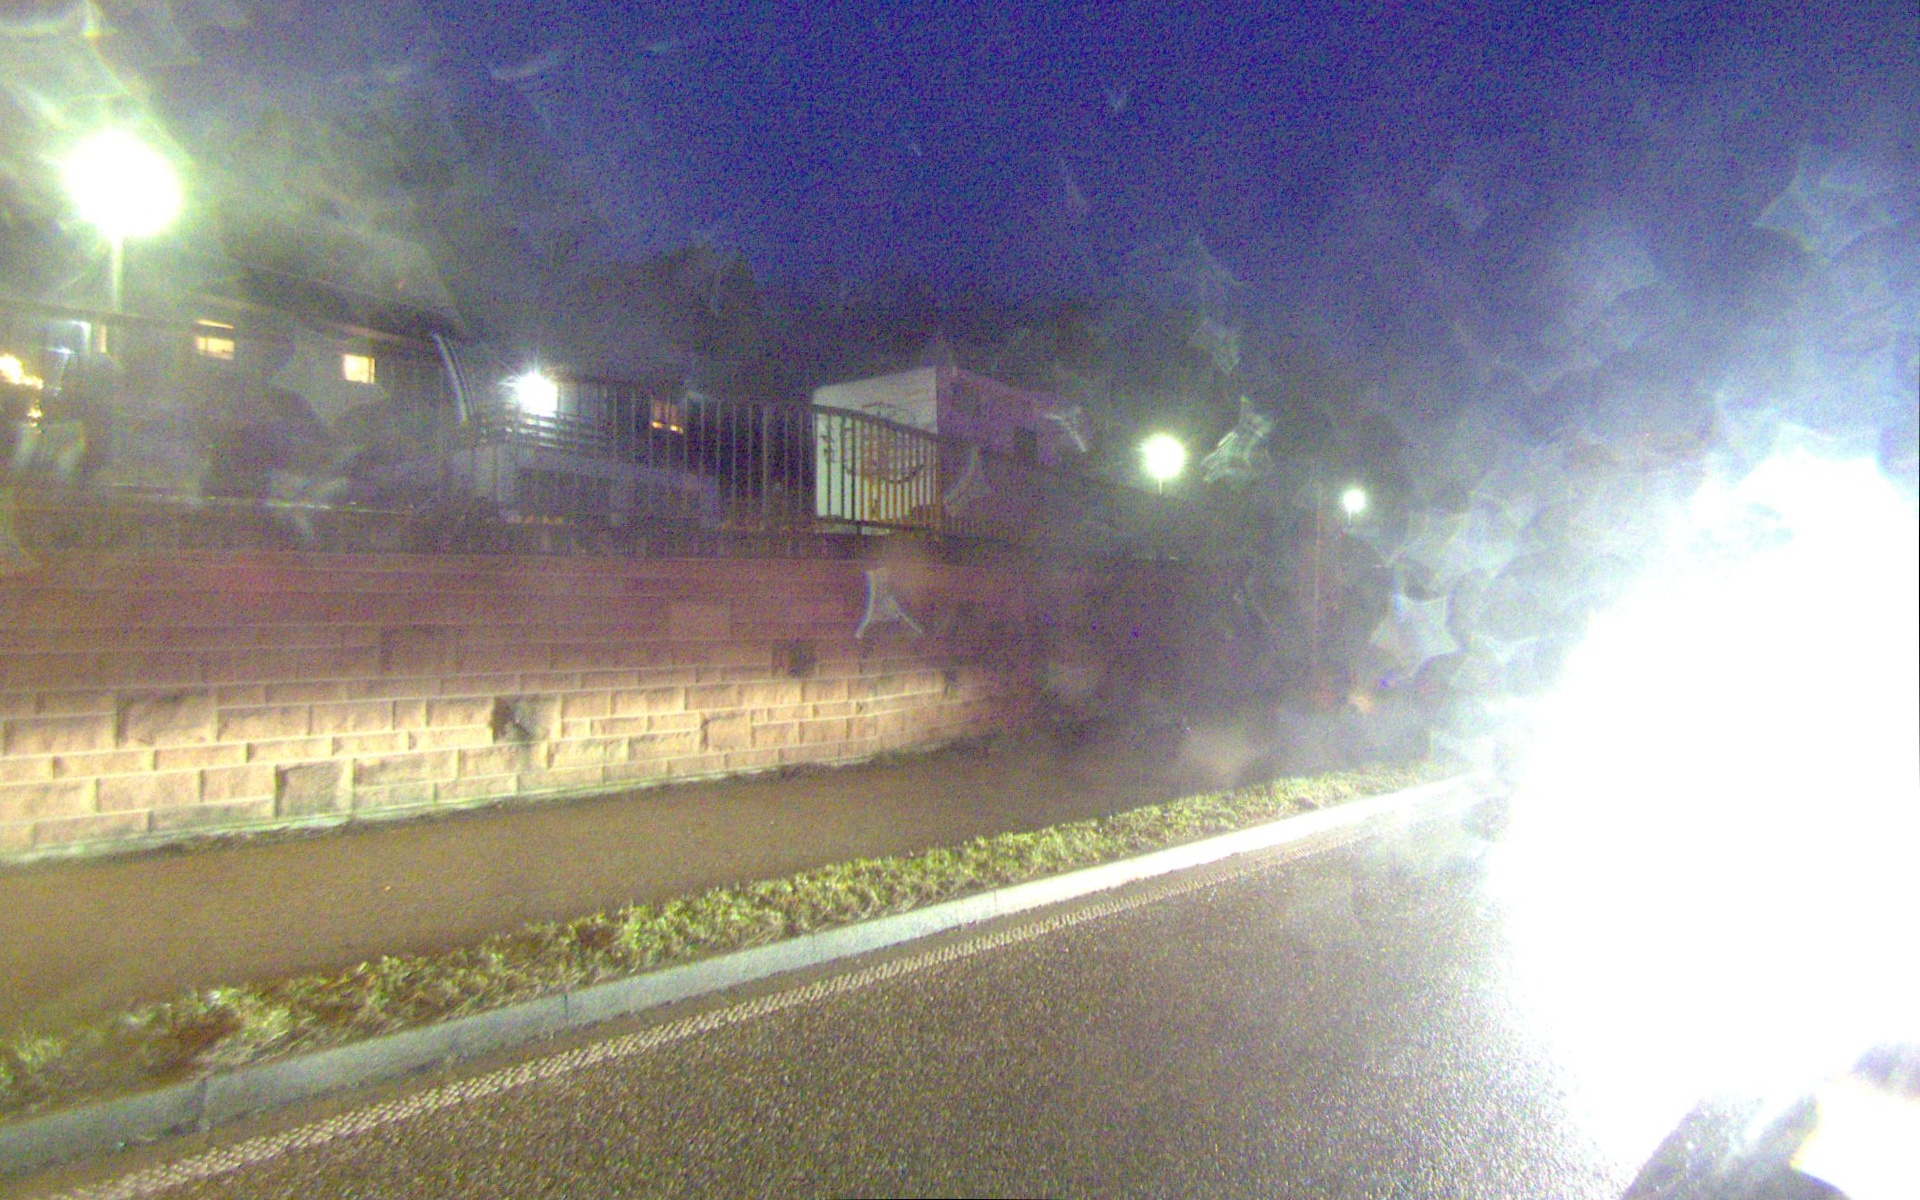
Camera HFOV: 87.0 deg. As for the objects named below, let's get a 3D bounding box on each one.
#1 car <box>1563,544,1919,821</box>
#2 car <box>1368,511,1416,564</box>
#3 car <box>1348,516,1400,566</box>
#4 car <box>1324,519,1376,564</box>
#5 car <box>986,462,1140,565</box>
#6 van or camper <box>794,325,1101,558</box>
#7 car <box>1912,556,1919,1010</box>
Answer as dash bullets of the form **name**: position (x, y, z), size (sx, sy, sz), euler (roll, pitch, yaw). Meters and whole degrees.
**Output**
- **car**: position (7.366, 0.494, 8.358), size (4.841, 1.757, 1.843), euler (-1, 0, -28)
- **car**: position (25.090, -3.578, 58.752), size (1.922, 2.809, 4.206), euler (0, 0, 32)
- **car**: position (22.220, -3.088, 54.233), size (1.922, 2.451, 4.206), euler (0, 0, 32)
- **car**: position (19.222, -2.824, 49.797), size (1.721, 2.039, 3.658), euler (0, 0, 32)
- **car**: position (2.462, -1.875, 23.266), size (1.985, 2.039, 3.954), euler (0, 0, 32)
- **van or camper**: position (0.082, -2.192, 16.254), size (2.394, 2.828, 5.712), euler (0, 0, 30)
- **car**: position (5.574, 0.623, 4.284), size (4.278, 1.602, 1.825), euler (-1, 0, -41)
